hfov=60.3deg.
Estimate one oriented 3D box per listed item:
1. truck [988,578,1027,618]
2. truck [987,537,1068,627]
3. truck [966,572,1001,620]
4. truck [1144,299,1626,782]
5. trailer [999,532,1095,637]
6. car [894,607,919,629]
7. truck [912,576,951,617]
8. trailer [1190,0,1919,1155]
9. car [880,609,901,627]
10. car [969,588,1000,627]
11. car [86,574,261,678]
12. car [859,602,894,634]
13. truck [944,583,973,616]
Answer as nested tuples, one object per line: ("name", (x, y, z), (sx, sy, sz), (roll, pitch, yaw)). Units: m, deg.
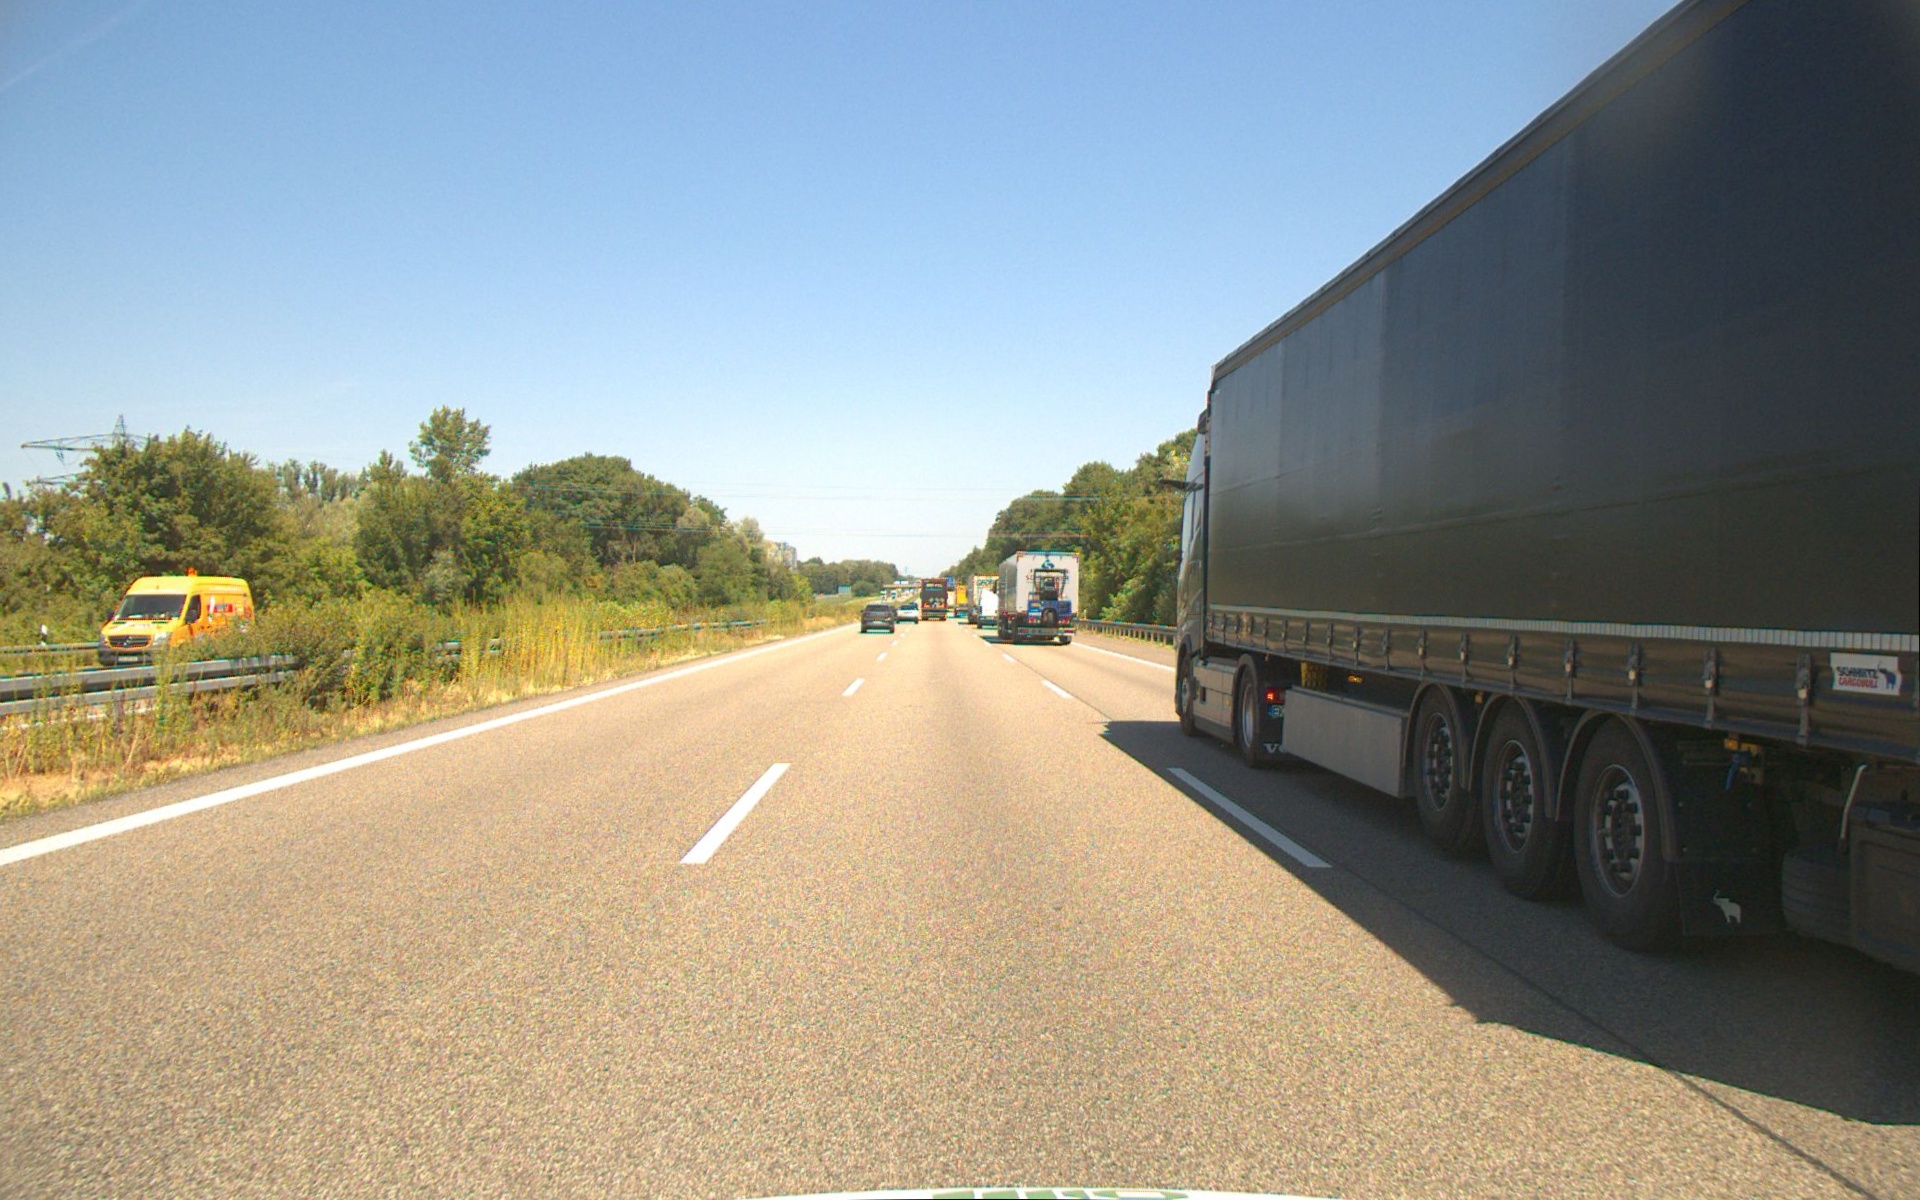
("truck", (4.638, -0.259, 162.263), (3.592, 3.790, 7.108), (1, 1, 0))
("truck", (3.113, -0.880, 78.867), (2.996, 3.946, 10.029), (1, 1, -2))
("truck", (1.905, -0.385, 136.320), (2.735, 3.790, 7.108), (1, 1, 0))
("truck", (4.198, -0.504, 18.214), (3.394, 4.250, 6.842), (1, -1, -1))
("trailer", (3.484, -0.665, 68.880), (3.059, 3.995, 9.933), (1, 1, -2))
("car", (-4.308, 1.451, 133.873), (1.862, 1.557, 4.083), (1, 1, -1))
("truck", (-2.742, -0.408, 162.034), (3.592, 3.790, 7.108), (1, 1, 0))
("trailer", (4.309, -0.560, 11.227), (3.365, 4.254, 13.630), (1, 0, -1))
("car", (-6.424, 1.657, 153.627), (1.862, 1.557, 4.083), (1, 1, -1))
("car", (1.637, 0.473, 110.232), (1.869, 2.467, 4.285), (1, 1, -1))
("car", (-21.184, 0.613, 44.900), (2.060, 2.601, 6.181), (-1, 1, -4))
("car", (-4.488, 0.929, 89.231), (1.723, 1.557, 4.285), (1, 1, -1))
("truck", (-0.133, -0.119, 202.231), (3.418, 3.790, 7.108), (1, 1, 0))
